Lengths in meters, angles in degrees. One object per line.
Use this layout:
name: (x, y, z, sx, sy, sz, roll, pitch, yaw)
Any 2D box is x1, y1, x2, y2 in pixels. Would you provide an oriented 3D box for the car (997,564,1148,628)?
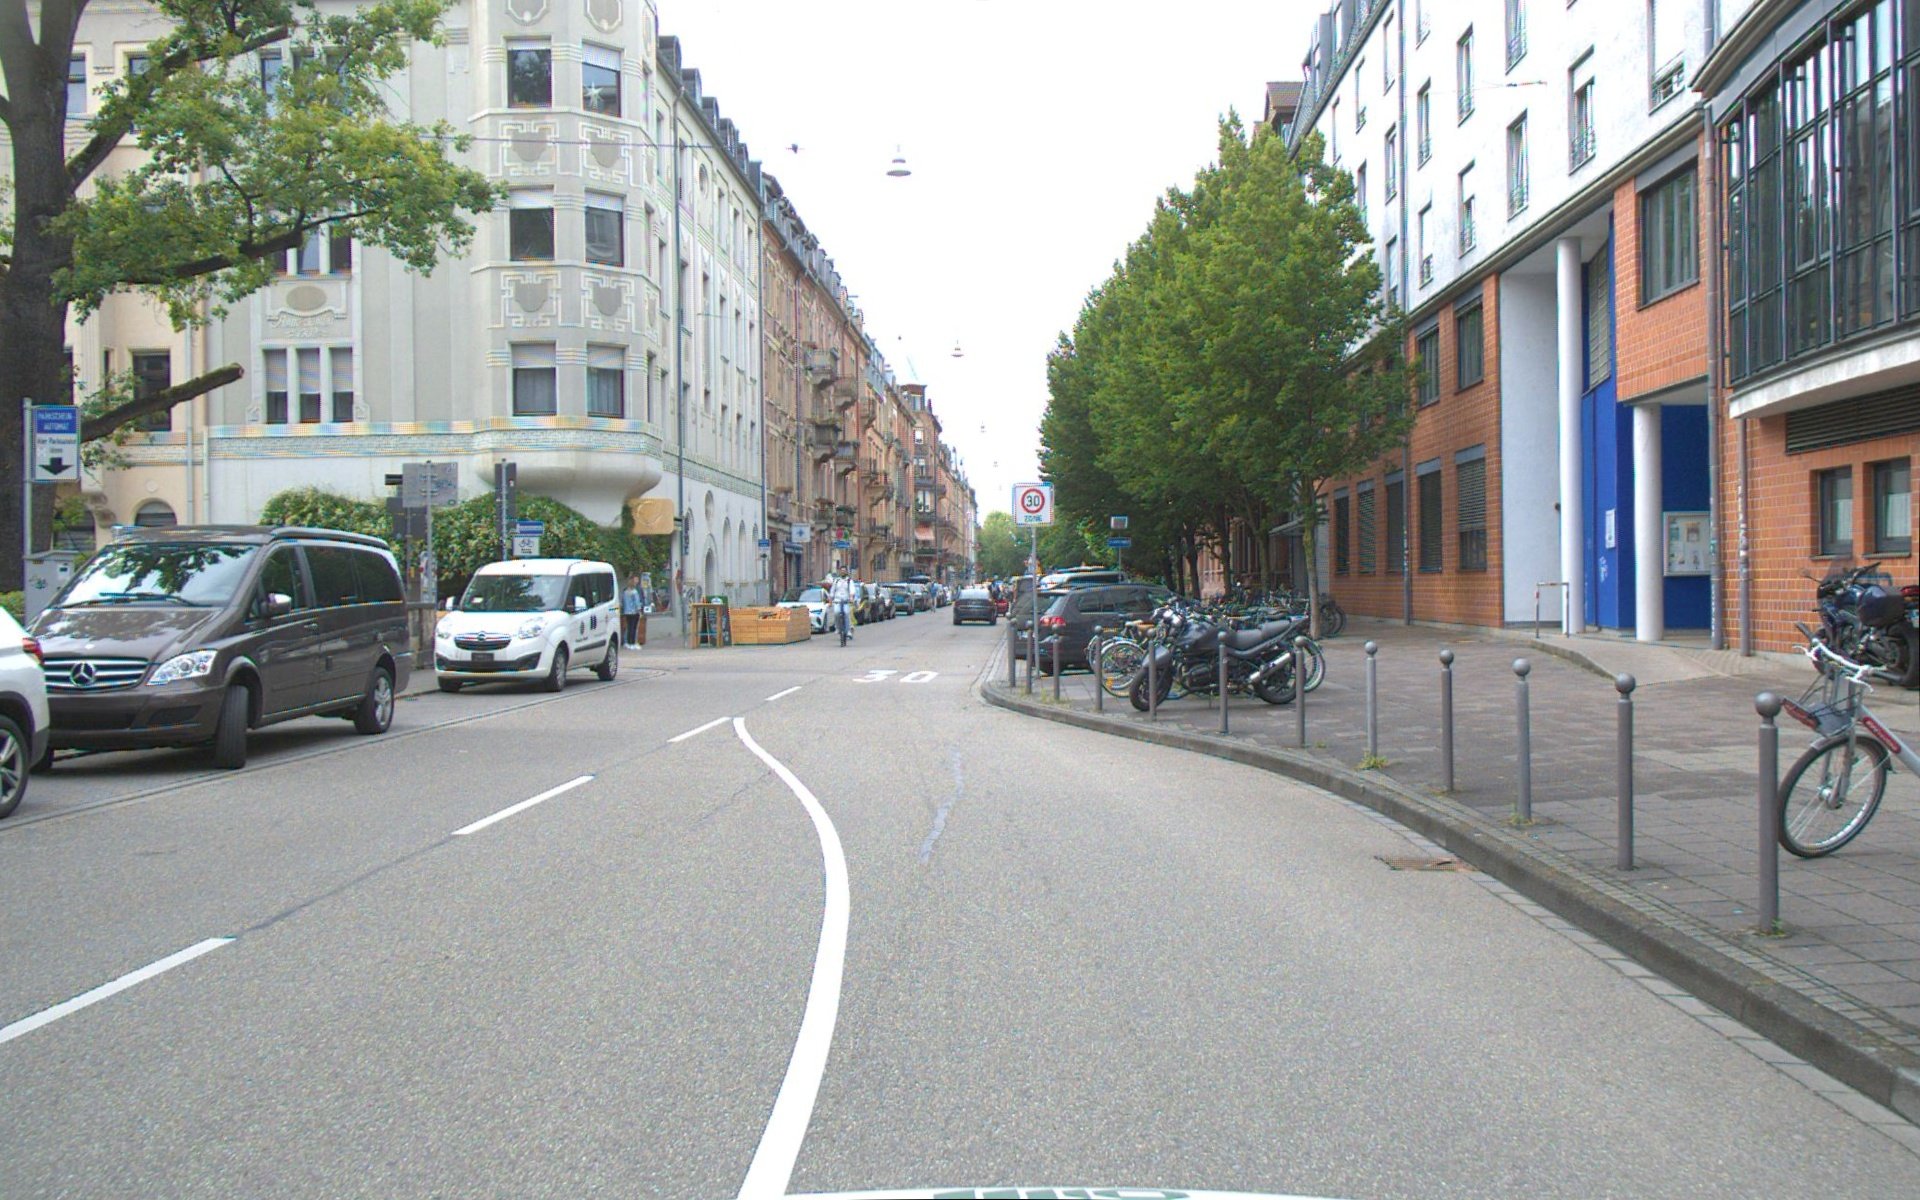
car: (4.243, -0.148, 61.944, 5.553, 2.164, 1.929, -2, 0, -32)

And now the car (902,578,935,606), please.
car: (-2.726, -0.525, 109.500, 1.903, 1.775, 3.944, 0, 0, 2)

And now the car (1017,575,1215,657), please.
car: (3.481, 0.343, 36.827, 4.003, 1.612, 1.885, -2, 0, -29)

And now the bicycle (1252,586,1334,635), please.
bicycle: (7.812, 0.257, 38.798, 1.798, 1.111, 0.565, -1, -1, 2)

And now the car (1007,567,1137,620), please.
car: (4.770, -0.277, 70.026, 5.335, 2.027, 1.929, -2, 0, -32)

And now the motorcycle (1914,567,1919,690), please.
motorcycle: (9.319, 0.262, 14.641, 0.588, 1.163, 2.071, -2, 0, 2)

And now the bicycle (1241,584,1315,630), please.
bicycle: (7.833, 0.170, 40.820, 1.716, 1.111, 0.565, -1, -1, 2)

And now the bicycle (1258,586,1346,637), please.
bicycle: (7.692, 0.253, 37.197, 1.856, 1.111, 0.543, -1, -1, 2)

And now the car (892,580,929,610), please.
car: (-2.932, -0.301, 98.689, 1.903, 1.772, 3.944, 0, 0, 2)

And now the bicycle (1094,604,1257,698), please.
bicycle: (2.640, 0.620, 20.355, 1.890, 1.061, 0.612, -2, -1, -1)

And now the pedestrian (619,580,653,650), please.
pedestrian: (-7.852, 0.367, 40.101, 0.566, 1.689, 0.575, -1, -1, 23)

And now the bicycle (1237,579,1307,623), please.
bicycle: (8.233, 0.024, 43.664, 1.716, 1.111, 0.565, -1, -1, 2)

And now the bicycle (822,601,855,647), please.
bicycle: (-3.067, 0.599, 41.856, 0.555, 1.106, 1.988, -1, 1, 4)

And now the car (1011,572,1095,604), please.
car: (6.166, -0.811, 109.704, 5.324, 1.900, 1.933, -2, 0, -28)

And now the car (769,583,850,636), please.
car: (-4.826, 0.294, 53.496, 1.903, 1.580, 3.819, -2, 0, 5)

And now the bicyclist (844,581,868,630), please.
bicyclist: (-3.011, 0.163, 47.884, 0.654, 1.423, 0.783, -1, -1, -1)

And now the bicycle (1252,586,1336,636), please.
bicycle: (7.667, 0.258, 38.008, 1.798, 1.111, 0.543, -1, -1, 2)

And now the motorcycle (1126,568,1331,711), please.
motorcycle: (2.960, 0.432, 18.360, 2.090, 1.454, 0.770, -2, -1, -1)

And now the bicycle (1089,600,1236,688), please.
bicycle: (2.677, 0.580, 21.988, 1.845, 1.061, 0.612, -2, -1, -1)

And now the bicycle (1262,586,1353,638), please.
bicycle: (7.674, 0.259, 36.591, 1.893, 1.111, 0.577, -1, -1, 2)

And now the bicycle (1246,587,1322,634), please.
bicycle: (7.866, 0.252, 40.211, 1.716, 1.111, 0.565, -1, -1, 2)

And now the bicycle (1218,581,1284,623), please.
bicycle: (7.979, 0.049, 45.422, 1.716, 1.111, 0.565, -1, -1, 2)

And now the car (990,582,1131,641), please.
car: (2.916, 0.314, 47.610, 3.824, 1.531, 1.747, -2, 0, -38)

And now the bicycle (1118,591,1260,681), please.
bicycle: (3.173, 0.497, 23.009, 1.845, 1.161, 0.612, -2, -1, -1)

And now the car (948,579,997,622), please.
car: (0.533, 0.043, 68.878, 1.952, 1.710, 4.000, -1, -1, 1)

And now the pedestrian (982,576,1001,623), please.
pedestrian: (1.473, -0.032, 78.037, 0.872, 2.183, 1.028, -1, -1, 1)

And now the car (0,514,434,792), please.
car: (-6.650, 0.368, 14.923, 1.971, 2.049, 5.184, -1, 1, 2)

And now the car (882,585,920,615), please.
car: (-3.317, 0.014, 93.786, 1.904, 1.645, 3.943, 0, 0, 1)

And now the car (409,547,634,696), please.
car: (-6.335, 0.259, 24.455, 1.804, 1.973, 4.550, -1, 1, 4)

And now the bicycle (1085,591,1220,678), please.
bicycle: (2.786, 0.500, 24.075, 1.845, 1.161, 0.612, -2, -1, -1)

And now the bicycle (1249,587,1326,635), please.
bicycle: (7.803, 0.257, 39.429, 1.716, 1.111, 0.565, -1, -1, 2)

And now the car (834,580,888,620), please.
car: (-4.198, 0.006, 70.618, 1.903, 1.645, 3.944, 0, 0, 2)

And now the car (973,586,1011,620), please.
car: (1.688, 0.162, 87.440, 1.952, 1.710, 4.000, -1, -1, 1)

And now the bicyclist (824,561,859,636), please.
bicyclist: (-3.032, -0.049, 42.301, 0.765, 1.898, 0.715, -1, 0, 4)

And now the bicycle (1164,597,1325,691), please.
bicycle: (3.603, 0.559, 21.024, 1.890, 1.096, 0.612, -2, -1, -1)

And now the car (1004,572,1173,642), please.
car: (3.324, 0.179, 42.604, 4.002, 1.612, 1.754, -2, 0, -29)

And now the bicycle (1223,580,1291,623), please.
bicycle: (7.990, 0.038, 44.560, 1.716, 1.111, 0.565, -1, -1, 2)

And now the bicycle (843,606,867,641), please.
bicycle: (-3.025, 0.669, 47.870, 0.524, 0.994, 1.865, -1, -1, 2)

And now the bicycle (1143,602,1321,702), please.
bicycle: (3.200, 0.607, 19.550, 1.968, 1.081, 0.612, -2, -1, -1)

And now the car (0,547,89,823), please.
car: (-6.931, 0.566, 9.087, 1.805, 1.718, 4.434, -1, 1, 2)

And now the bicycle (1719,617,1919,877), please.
bicycle: (4.518, 0.656, 7.590, 0.723, 1.123, 1.712, -3, 0, -39)

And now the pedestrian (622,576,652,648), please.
pedestrian: (-7.965, 0.305, 40.787, 0.573, 1.765, 0.500, 0, -1, -34)

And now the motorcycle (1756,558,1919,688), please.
motorcycle: (9.231, 0.202, 17.042, 1.007, 1.223, 2.209, -2, 1, 2)

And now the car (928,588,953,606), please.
car: (-1.574, -0.227, 131.208, 1.953, 1.344, 3.999, -1, -1, -1)

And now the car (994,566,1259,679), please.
car: (2.876, 0.350, 28.387, 4.231, 1.606, 1.844, -4, 1, -31)

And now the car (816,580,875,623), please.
car: (-4.468, 0.048, 65.149, 1.903, 1.645, 3.944, 0, 0, 2)

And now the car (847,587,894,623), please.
car: (-4.189, 0.212, 77.809, 1.904, 1.645, 3.943, 0, 0, 1)

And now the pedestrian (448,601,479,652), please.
pedestrian: (-12.146, 0.641, 40.466, 0.566, 1.218, 0.555, -1, 1, 2)
